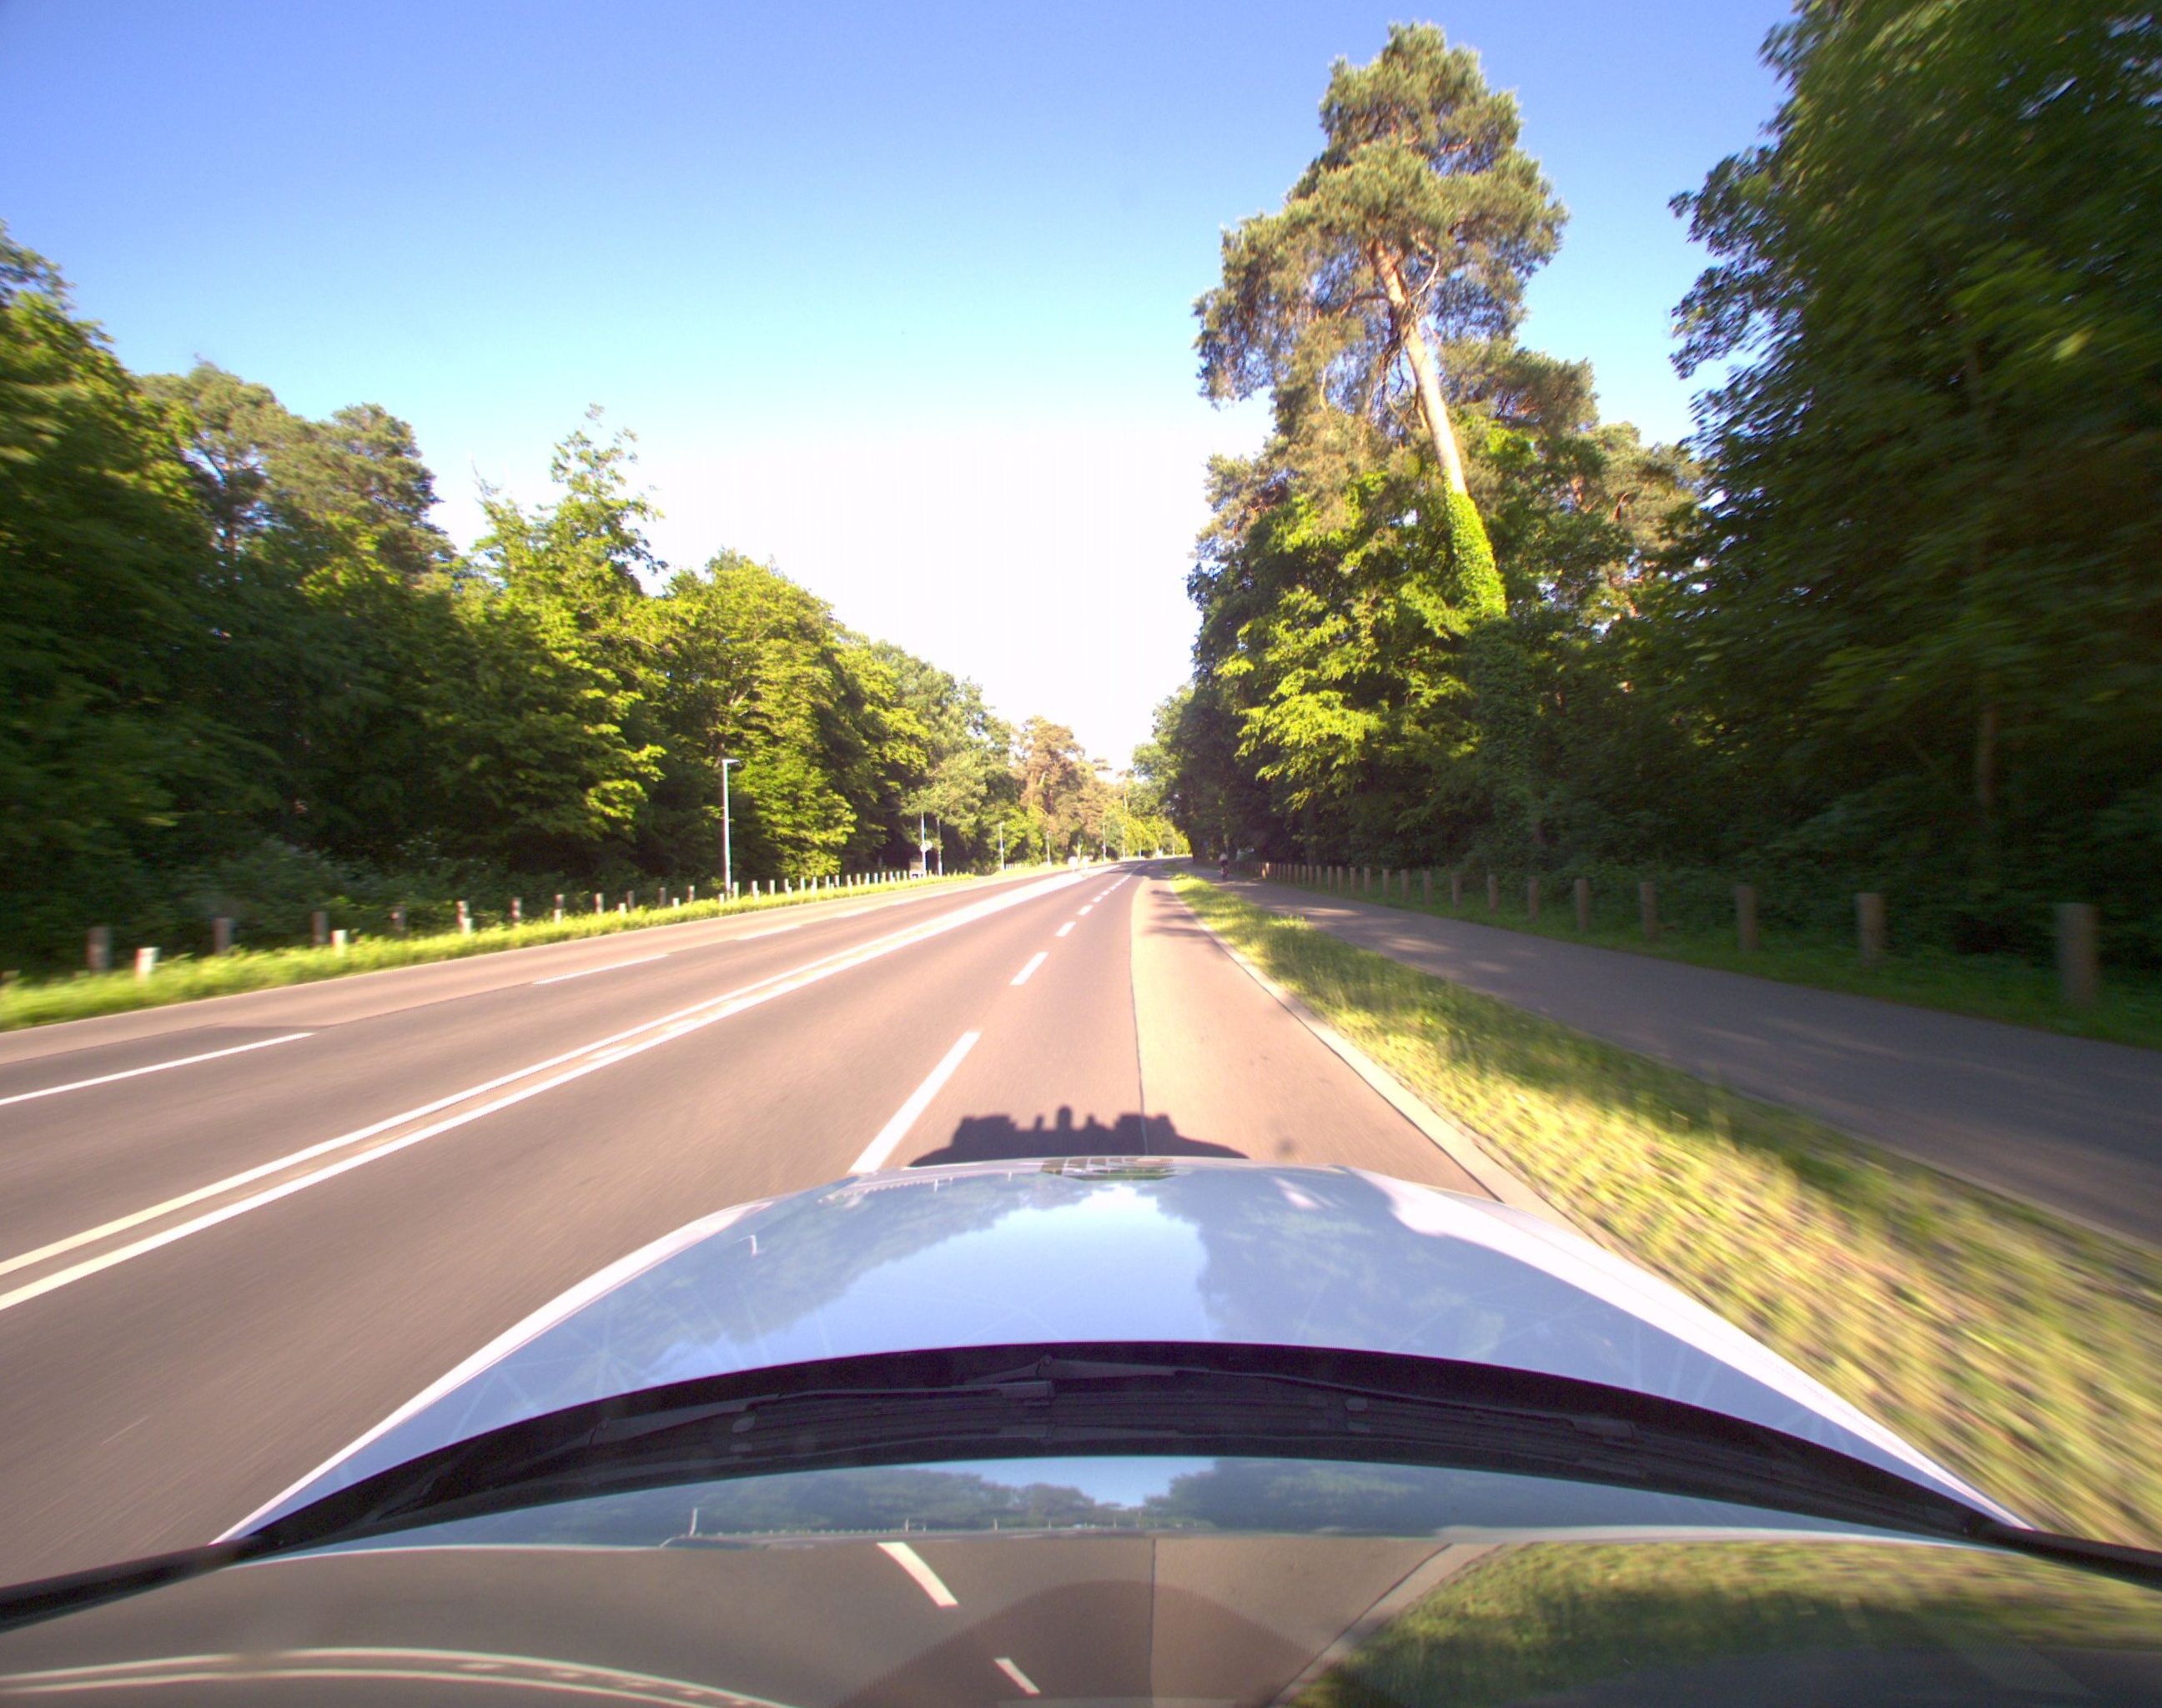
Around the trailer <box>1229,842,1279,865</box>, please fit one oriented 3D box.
[{"bbox_3d":[16.606,-0.029,78.334,2.012,2.021,4.175,-1,-1,-44],"label":"trailer"}]

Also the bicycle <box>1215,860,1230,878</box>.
[{"bbox_3d":[8.467,0.905,48.639,0.708,1.056,2.056,-1,-1,5],"label":"bicycle"}]

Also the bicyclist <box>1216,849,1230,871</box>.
[{"bbox_3d":[8.456,0.349,48.616,0.709,1.289,1.106,-1,-1,5],"label":"bicyclist"}]
